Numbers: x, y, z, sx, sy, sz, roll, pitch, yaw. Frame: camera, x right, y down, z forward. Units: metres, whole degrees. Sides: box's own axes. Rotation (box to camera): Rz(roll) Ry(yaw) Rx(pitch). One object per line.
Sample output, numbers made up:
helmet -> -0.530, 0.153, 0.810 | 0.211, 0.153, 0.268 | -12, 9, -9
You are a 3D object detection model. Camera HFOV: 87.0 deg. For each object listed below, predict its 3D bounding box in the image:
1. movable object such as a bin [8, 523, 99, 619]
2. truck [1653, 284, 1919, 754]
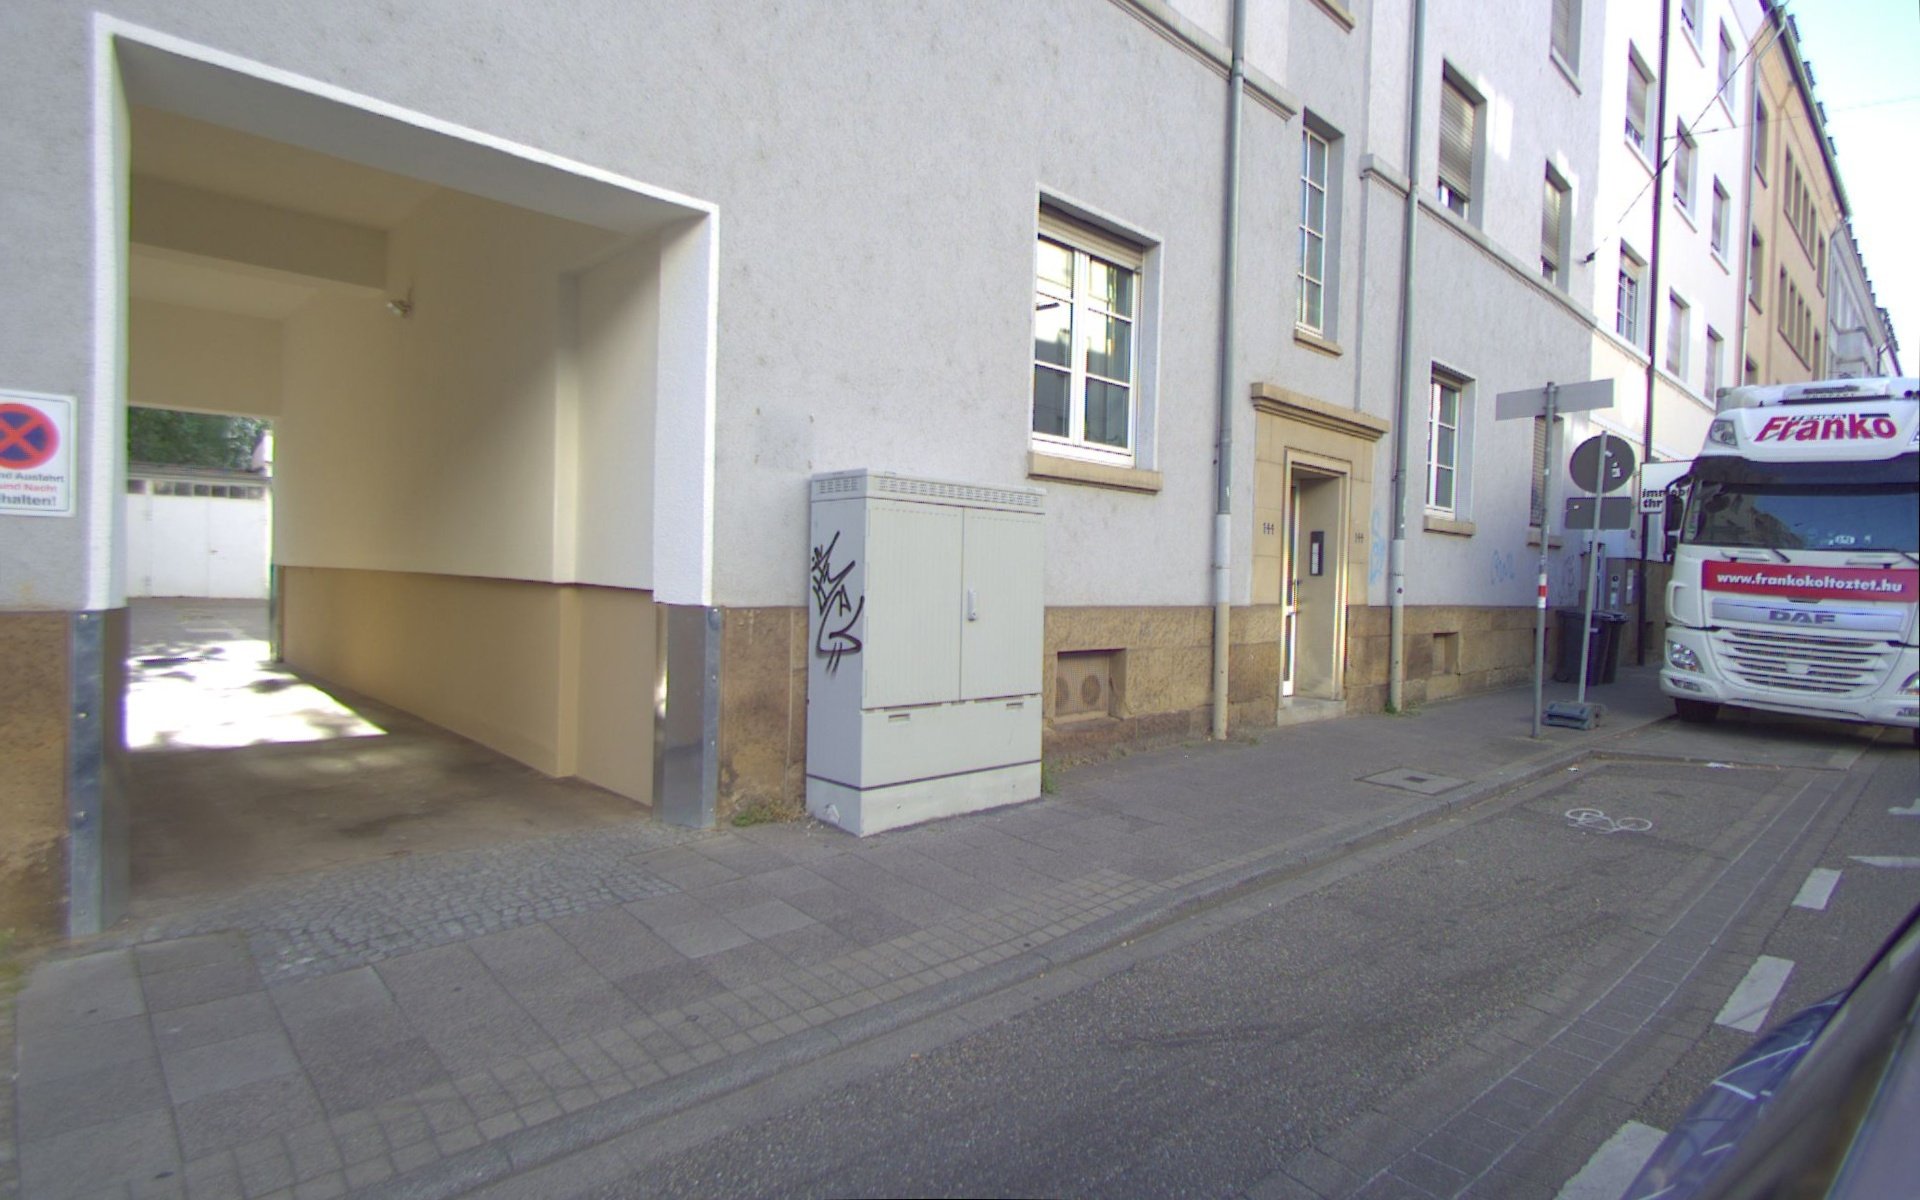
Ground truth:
movable object such as a bin -> -15.137, -0.467, 16.929 | 1.091, 1.512, 1.328 | 0, 0, -41
truck -> 12.549, -0.861, 13.677 | 11.579, 4.290, 2.697 | -1, 3, -43
